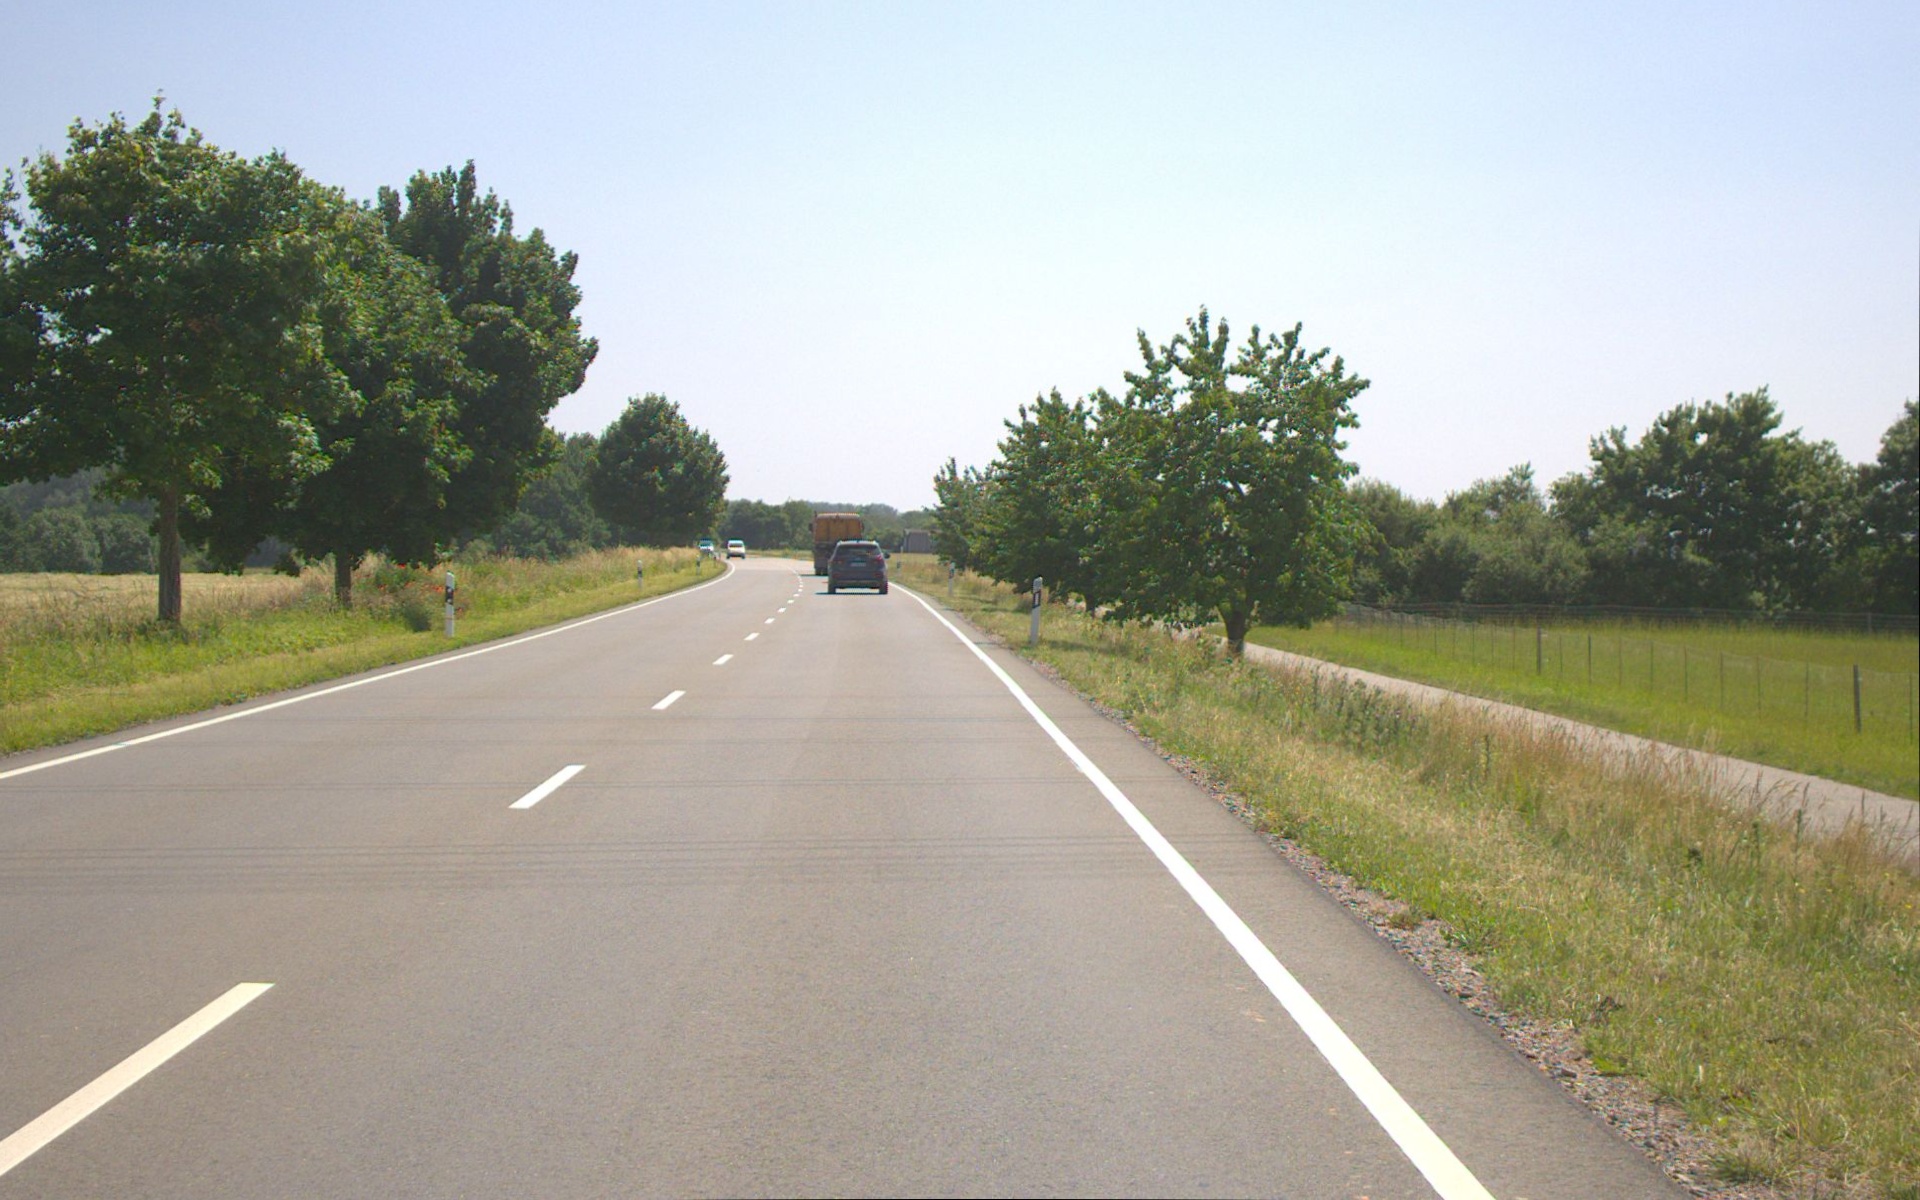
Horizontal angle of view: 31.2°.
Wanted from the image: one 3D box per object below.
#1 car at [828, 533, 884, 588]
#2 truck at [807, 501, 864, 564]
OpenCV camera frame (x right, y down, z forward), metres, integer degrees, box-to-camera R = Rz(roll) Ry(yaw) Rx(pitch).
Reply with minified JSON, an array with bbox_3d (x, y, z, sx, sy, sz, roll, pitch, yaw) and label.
[{"bbox_3d":[-3.264,-1.258,108.632,1.714,1.688,3.989,1,1,-1],"label":"car"},{"bbox_3d":[-6.439,-3.438,177.001,2.370,3.129,8.749,1,1,-5],"label":"truck"}]
